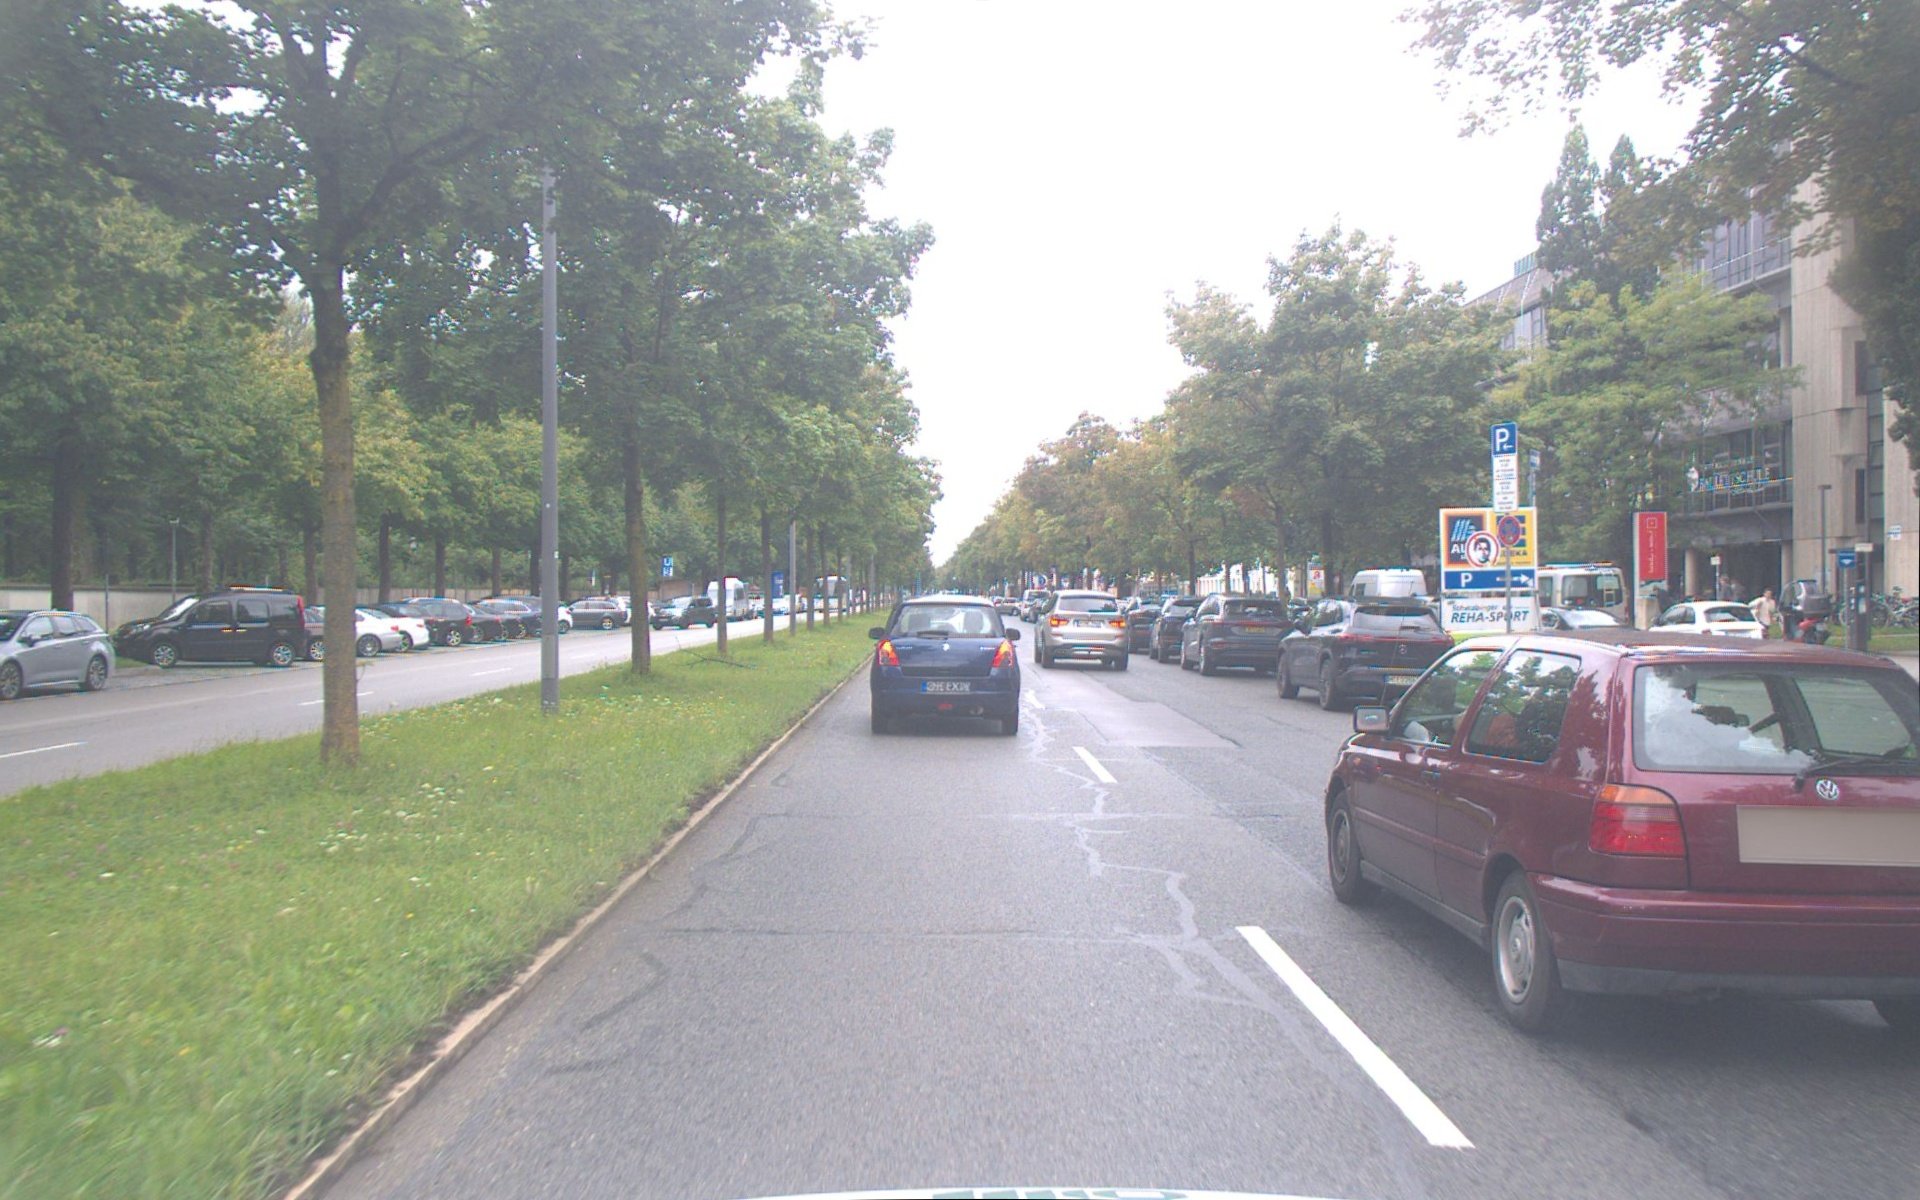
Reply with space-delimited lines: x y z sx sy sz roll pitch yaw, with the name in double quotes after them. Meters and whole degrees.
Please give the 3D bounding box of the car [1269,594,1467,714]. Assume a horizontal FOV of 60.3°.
5.952 0.723 24.671 1.726 1.617 4.451 0 0 -2 "car"

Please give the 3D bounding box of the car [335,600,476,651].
-18.469 0.822 55.150 4.069 1.625 1.891 -1 0 -40 "car"

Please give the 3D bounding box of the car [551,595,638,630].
-19.067 0.641 86.398 4.059 1.725 1.896 -1 0 -34 "car"

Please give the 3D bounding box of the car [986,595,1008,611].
3.446 0.275 156.156 1.813 1.472 4.096 0 0 -2 "car"

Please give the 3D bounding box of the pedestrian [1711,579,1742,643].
21.619 0.306 46.667 0.563 1.782 0.732 0 0 4 "pedestrian"

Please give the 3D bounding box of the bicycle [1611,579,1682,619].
27.186 -0.049 65.534 2.562 1.534 0.796 -1 0 -10 "bicycle"

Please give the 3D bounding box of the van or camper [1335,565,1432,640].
15.436 0.087 60.597 1.983 2.602 5.956 0 0 0 "van or camper"

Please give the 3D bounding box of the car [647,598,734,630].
-13.656 0.682 84.030 1.883 1.569 4.167 0 0 39 "car"

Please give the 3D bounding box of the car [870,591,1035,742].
-0.157 0.697 19.545 1.753 1.583 3.998 0 0 -2 "car"

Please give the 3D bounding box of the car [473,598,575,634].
-19.515 0.716 74.088 4.053 1.527 1.899 -1 0 -32 "car"

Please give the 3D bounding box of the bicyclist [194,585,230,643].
-23.211 0.424 51.342 0.690 1.777 0.922 0 0 -1 "bicyclist"

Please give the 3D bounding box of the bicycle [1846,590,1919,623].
27.929 0.196 49.901 2.007 0.975 0.743 0 0 37 "bicycle"

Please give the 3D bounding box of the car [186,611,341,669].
-18.059 1.008 42.911 3.533 1.378 1.735 0 0 -31 "car"

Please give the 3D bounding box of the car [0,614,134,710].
-16.261 1.026 28.473 1.602 1.464 4.809 1 0 0 "car"

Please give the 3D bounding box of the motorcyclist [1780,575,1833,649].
20.890 0.292 40.847 0.677 1.767 0.953 -5 0 -1 "motorcyclist"

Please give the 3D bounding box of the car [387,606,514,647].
-18.913 0.952 61.446 4.148 1.434 1.896 -1 0 -34 "car"

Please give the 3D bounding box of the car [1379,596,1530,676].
10.211 0.710 34.427 1.728 1.514 3.997 1 0 -3 "car"

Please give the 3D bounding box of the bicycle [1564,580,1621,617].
26.342 -0.067 68.840 2.583 1.534 0.790 -1 0 -31 "bicycle"

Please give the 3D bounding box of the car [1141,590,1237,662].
5.625 0.607 41.071 1.687 1.680 4.388 0 0 -1 "car"

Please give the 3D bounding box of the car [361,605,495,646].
-18.792 0.891 58.464 4.152 1.345 1.896 -1 0 -34 "car"

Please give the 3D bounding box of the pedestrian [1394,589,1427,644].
15.541 0.563 57.038 0.857 1.883 0.903 1 0 -2 "pedestrian"

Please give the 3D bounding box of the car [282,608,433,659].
-18.059 0.975 49.665 3.999 1.405 1.653 0 0 -37 "car"

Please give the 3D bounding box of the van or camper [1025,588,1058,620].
5.103 0.237 103.809 1.905 2.009 4.306 0 0 0 "van or camper"

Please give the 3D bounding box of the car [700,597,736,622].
-15.779 0.629 107.840 1.874 1.569 4.186 0 0 -2 "car"

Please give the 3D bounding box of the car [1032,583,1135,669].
2.659 0.535 36.444 1.813 1.773 4.096 0 0 -2 "car"

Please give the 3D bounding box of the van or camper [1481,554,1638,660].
15.810 0.161 43.990 1.953 2.602 5.956 0 0 0 "van or camper"

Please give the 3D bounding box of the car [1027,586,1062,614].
4.973 -0.011 97.598 1.651 1.581 4.303 0 0 -3 "car"

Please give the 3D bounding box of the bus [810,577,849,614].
-12.616 -0.440 160.850 2.682 3.436 12.012 -2 0 0 "bus"

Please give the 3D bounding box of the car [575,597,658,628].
-18.744 0.682 90.364 4.059 1.612 1.896 -1 0 -34 "car"

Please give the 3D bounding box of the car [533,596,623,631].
-19.232 0.663 83.287 4.059 1.725 1.896 -1 0 -34 "car"

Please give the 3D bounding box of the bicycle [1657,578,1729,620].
27.766 -0.038 62.660 2.566 1.534 0.795 -1 0 -15 "bicycle"

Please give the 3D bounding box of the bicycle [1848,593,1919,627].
26.840 0.288 47.757 2.012 0.975 0.741 0 0 44 "bicycle"

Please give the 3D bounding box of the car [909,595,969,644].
-0.698 0.592 52.707 1.813 1.472 4.096 0 0 -2 "car"

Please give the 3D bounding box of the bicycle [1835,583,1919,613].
27.245 -0.054 48.860 2.362 0.885 0.766 0 0 44 "bicycle"

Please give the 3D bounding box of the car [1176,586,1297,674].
5.724 0.577 34.795 1.725 1.730 4.820 0 0 0 "car"

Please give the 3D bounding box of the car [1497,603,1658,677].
13.369 0.816 36.123 1.650 1.479 4.838 0 0 -1 "car"

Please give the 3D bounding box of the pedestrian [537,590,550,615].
-28.149 0.167 111.859 0.671 1.640 0.685 0 0 -32 "pedestrian"

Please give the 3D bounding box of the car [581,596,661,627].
-19.107 0.643 93.308 4.059 1.681 1.896 -1 0 -34 "car"

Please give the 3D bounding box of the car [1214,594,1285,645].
9.559 0.621 54.840 1.650 1.613 4.009 0 0 0 "car"

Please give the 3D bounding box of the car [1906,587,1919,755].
11.565 0.717 17.737 1.935 1.653 4.827 0 0 36 "car"

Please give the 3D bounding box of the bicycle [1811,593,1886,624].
28.178 0.275 52.471 2.000 0.975 0.746 0 0 -2 "bicycle"

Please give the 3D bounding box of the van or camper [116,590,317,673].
-17.867 0.715 39.820 4.089 1.887 1.822 0 0 -42 "van or camper"

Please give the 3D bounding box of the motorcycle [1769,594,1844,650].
20.916 0.528 40.896 0.682 1.313 2.066 -5 0 -1 "motorcycle"

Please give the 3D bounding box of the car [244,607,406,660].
-17.867 0.912 46.568 3.955 1.378 1.828 -1 0 -36 "car"

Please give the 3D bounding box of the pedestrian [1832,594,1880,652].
21.107 0.538 38.966 0.717 1.313 0.698 -3 -1 4 "pedestrian"

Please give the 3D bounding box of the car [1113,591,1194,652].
5.518 0.580 47.596 1.728 1.680 4.423 0 0 -1 "car"

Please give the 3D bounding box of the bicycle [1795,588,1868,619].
28.221 0.120 53.578 2.000 0.975 0.746 0 0 -2 "bicycle"

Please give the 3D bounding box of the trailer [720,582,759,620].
-15.617 0.056 117.438 2.063 2.585 5.576 0 0 0 "trailer"

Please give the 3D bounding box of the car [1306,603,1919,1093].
2.726 0.763 7.077 1.589 1.479 3.949 0 0 -1 "car"

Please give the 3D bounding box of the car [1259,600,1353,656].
9.828 0.769 47.206 1.712 1.504 4.007 0 0 -2 "car"

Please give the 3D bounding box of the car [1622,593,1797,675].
16.167 0.687 35.891 1.953 1.680 4.000 0 0 0 "car"

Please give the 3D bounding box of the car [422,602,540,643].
-18.717 0.855 64.695 4.059 1.495 1.896 -1 0 -34 "car"

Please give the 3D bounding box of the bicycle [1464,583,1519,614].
27.087 -0.069 84.296 2.560 1.534 0.797 -1 0 -7 "bicycle"

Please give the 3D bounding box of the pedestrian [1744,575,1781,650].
19.288 0.290 39.742 0.563 1.782 0.732 0 0 4 "pedestrian"

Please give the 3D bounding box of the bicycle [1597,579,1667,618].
26.979 -0.052 66.417 2.562 1.534 0.796 -1 0 -10 "bicycle"
